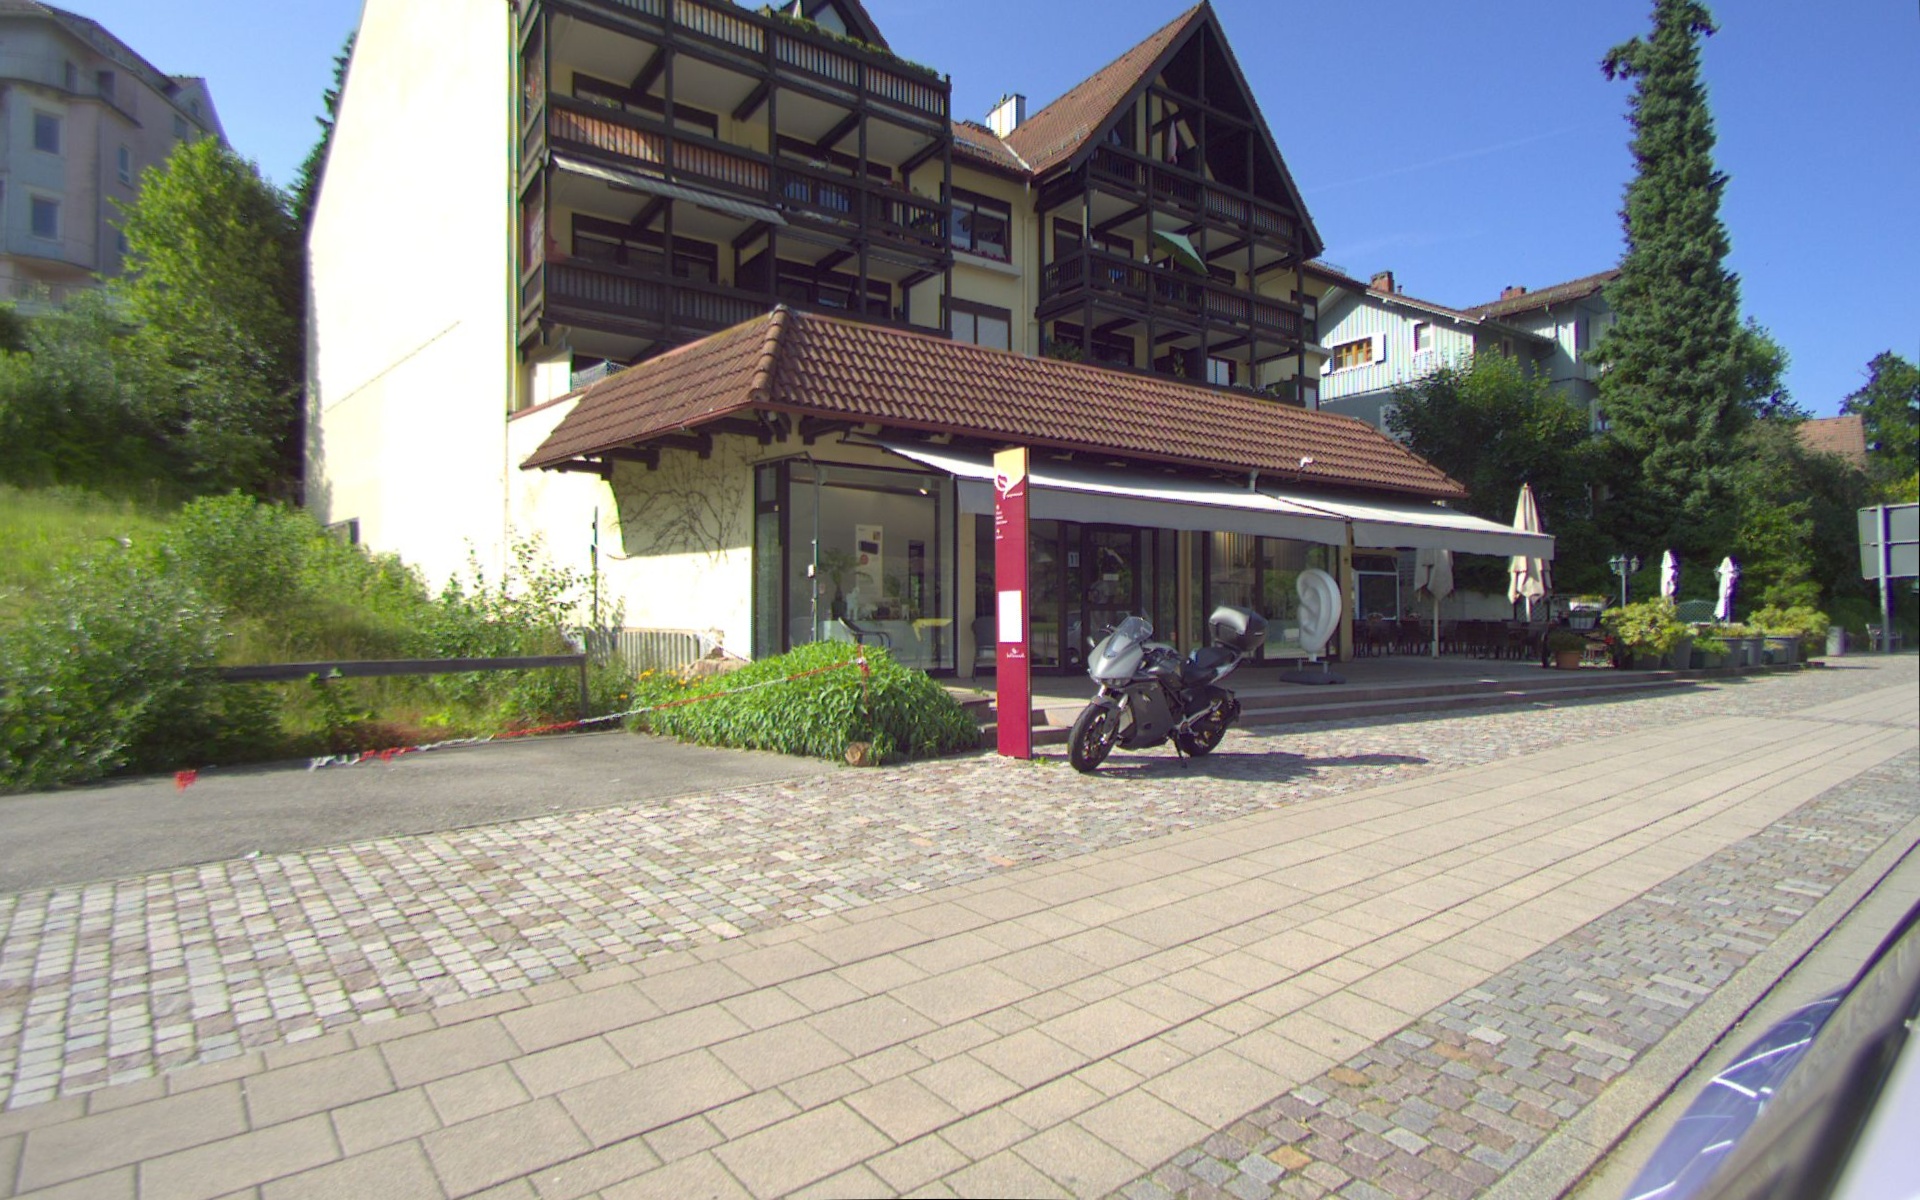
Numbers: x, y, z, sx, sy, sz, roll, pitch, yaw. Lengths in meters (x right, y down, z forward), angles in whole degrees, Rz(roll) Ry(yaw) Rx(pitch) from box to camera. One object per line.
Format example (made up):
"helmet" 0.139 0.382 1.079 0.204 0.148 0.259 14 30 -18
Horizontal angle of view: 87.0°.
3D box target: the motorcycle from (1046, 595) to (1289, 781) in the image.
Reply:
"motorcycle" 1.733 0.633 8.206 2.172 1.312 0.698 0 1 -39

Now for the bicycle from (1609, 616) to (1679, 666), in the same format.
"bicycle" 12.574 0.745 18.587 1.584 0.875 0.398 0 -1 -30

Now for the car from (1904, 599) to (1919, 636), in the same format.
"car" 42.472 0.754 42.545 1.716 1.600 3.884 1 -1 -38

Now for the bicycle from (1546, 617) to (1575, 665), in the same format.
"bicycle" 11.455 0.759 19.291 0.394 0.853 1.597 -2 -1 33

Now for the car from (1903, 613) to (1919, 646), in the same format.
"car" 44.199 1.308 44.180 1.714 1.433 4.124 0 0 -33
